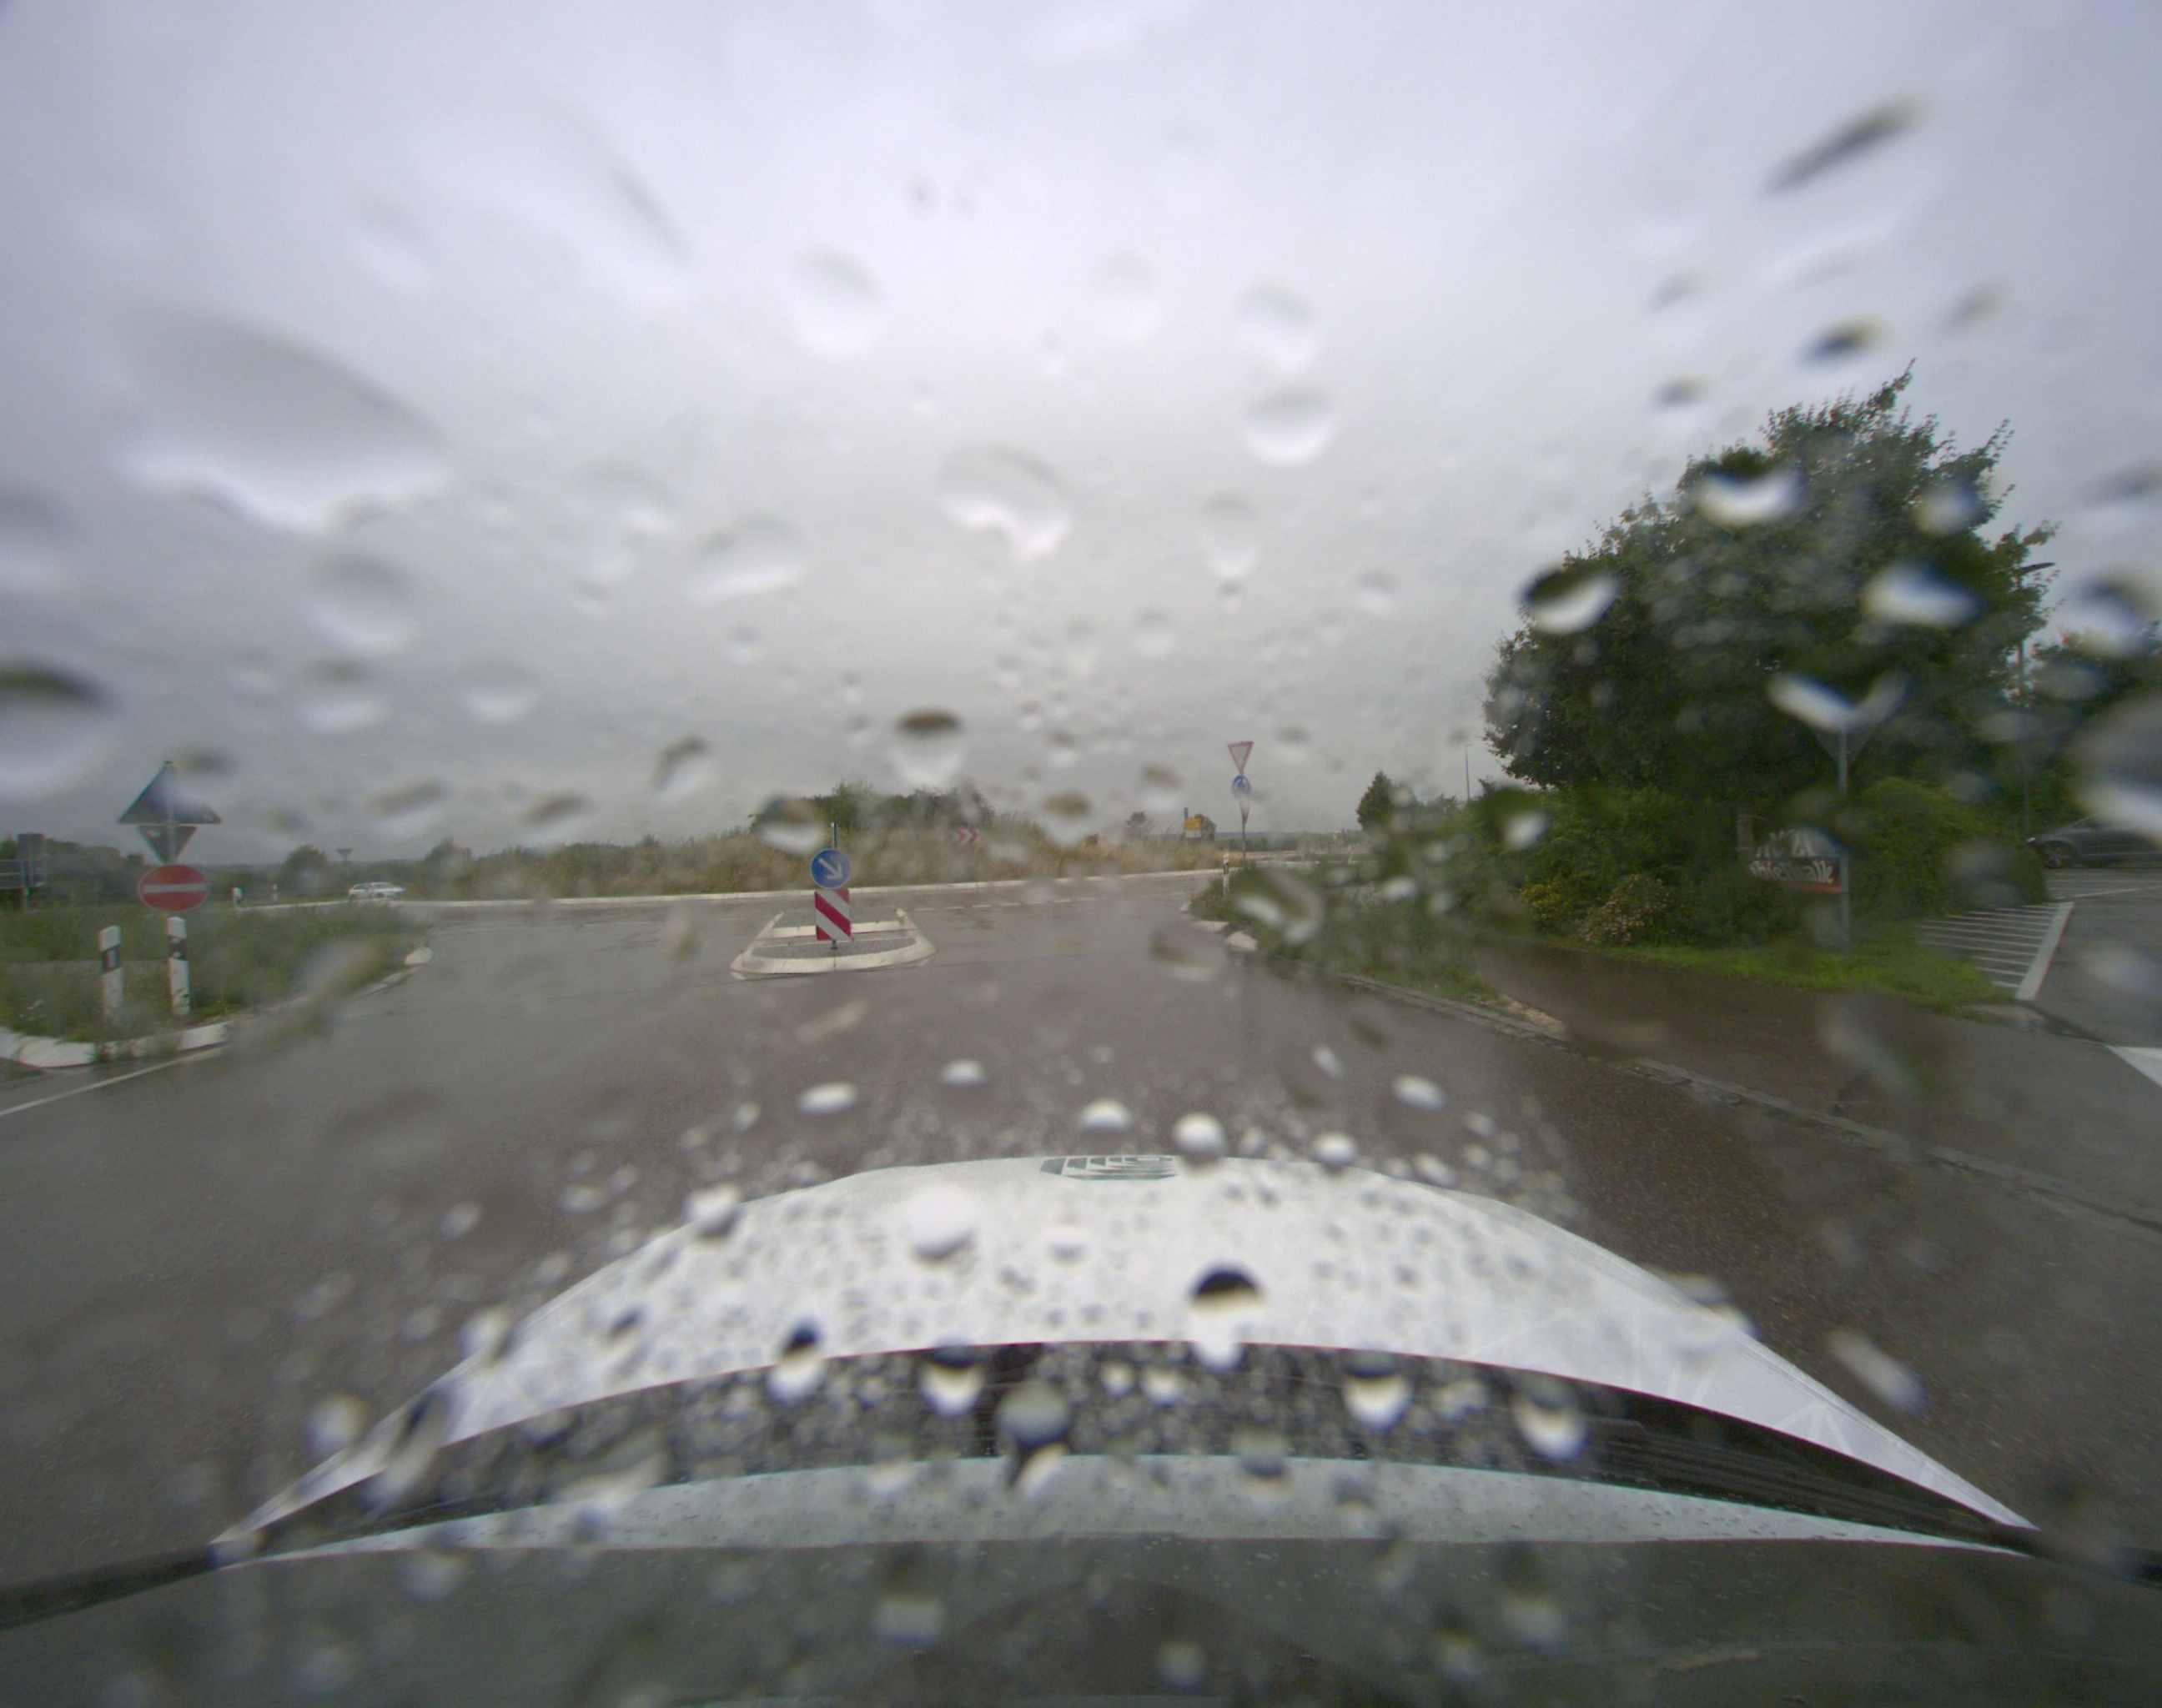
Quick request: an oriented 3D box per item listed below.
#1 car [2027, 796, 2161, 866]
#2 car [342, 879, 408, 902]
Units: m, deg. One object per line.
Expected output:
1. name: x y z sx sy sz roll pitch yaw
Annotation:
1. car: 24.565 -0.539 18.489 1.449 1.551 3.723 -3 0 -16
2. car: -52.786 2.734 60.893 4.271 1.427 1.660 -3 -1 18
